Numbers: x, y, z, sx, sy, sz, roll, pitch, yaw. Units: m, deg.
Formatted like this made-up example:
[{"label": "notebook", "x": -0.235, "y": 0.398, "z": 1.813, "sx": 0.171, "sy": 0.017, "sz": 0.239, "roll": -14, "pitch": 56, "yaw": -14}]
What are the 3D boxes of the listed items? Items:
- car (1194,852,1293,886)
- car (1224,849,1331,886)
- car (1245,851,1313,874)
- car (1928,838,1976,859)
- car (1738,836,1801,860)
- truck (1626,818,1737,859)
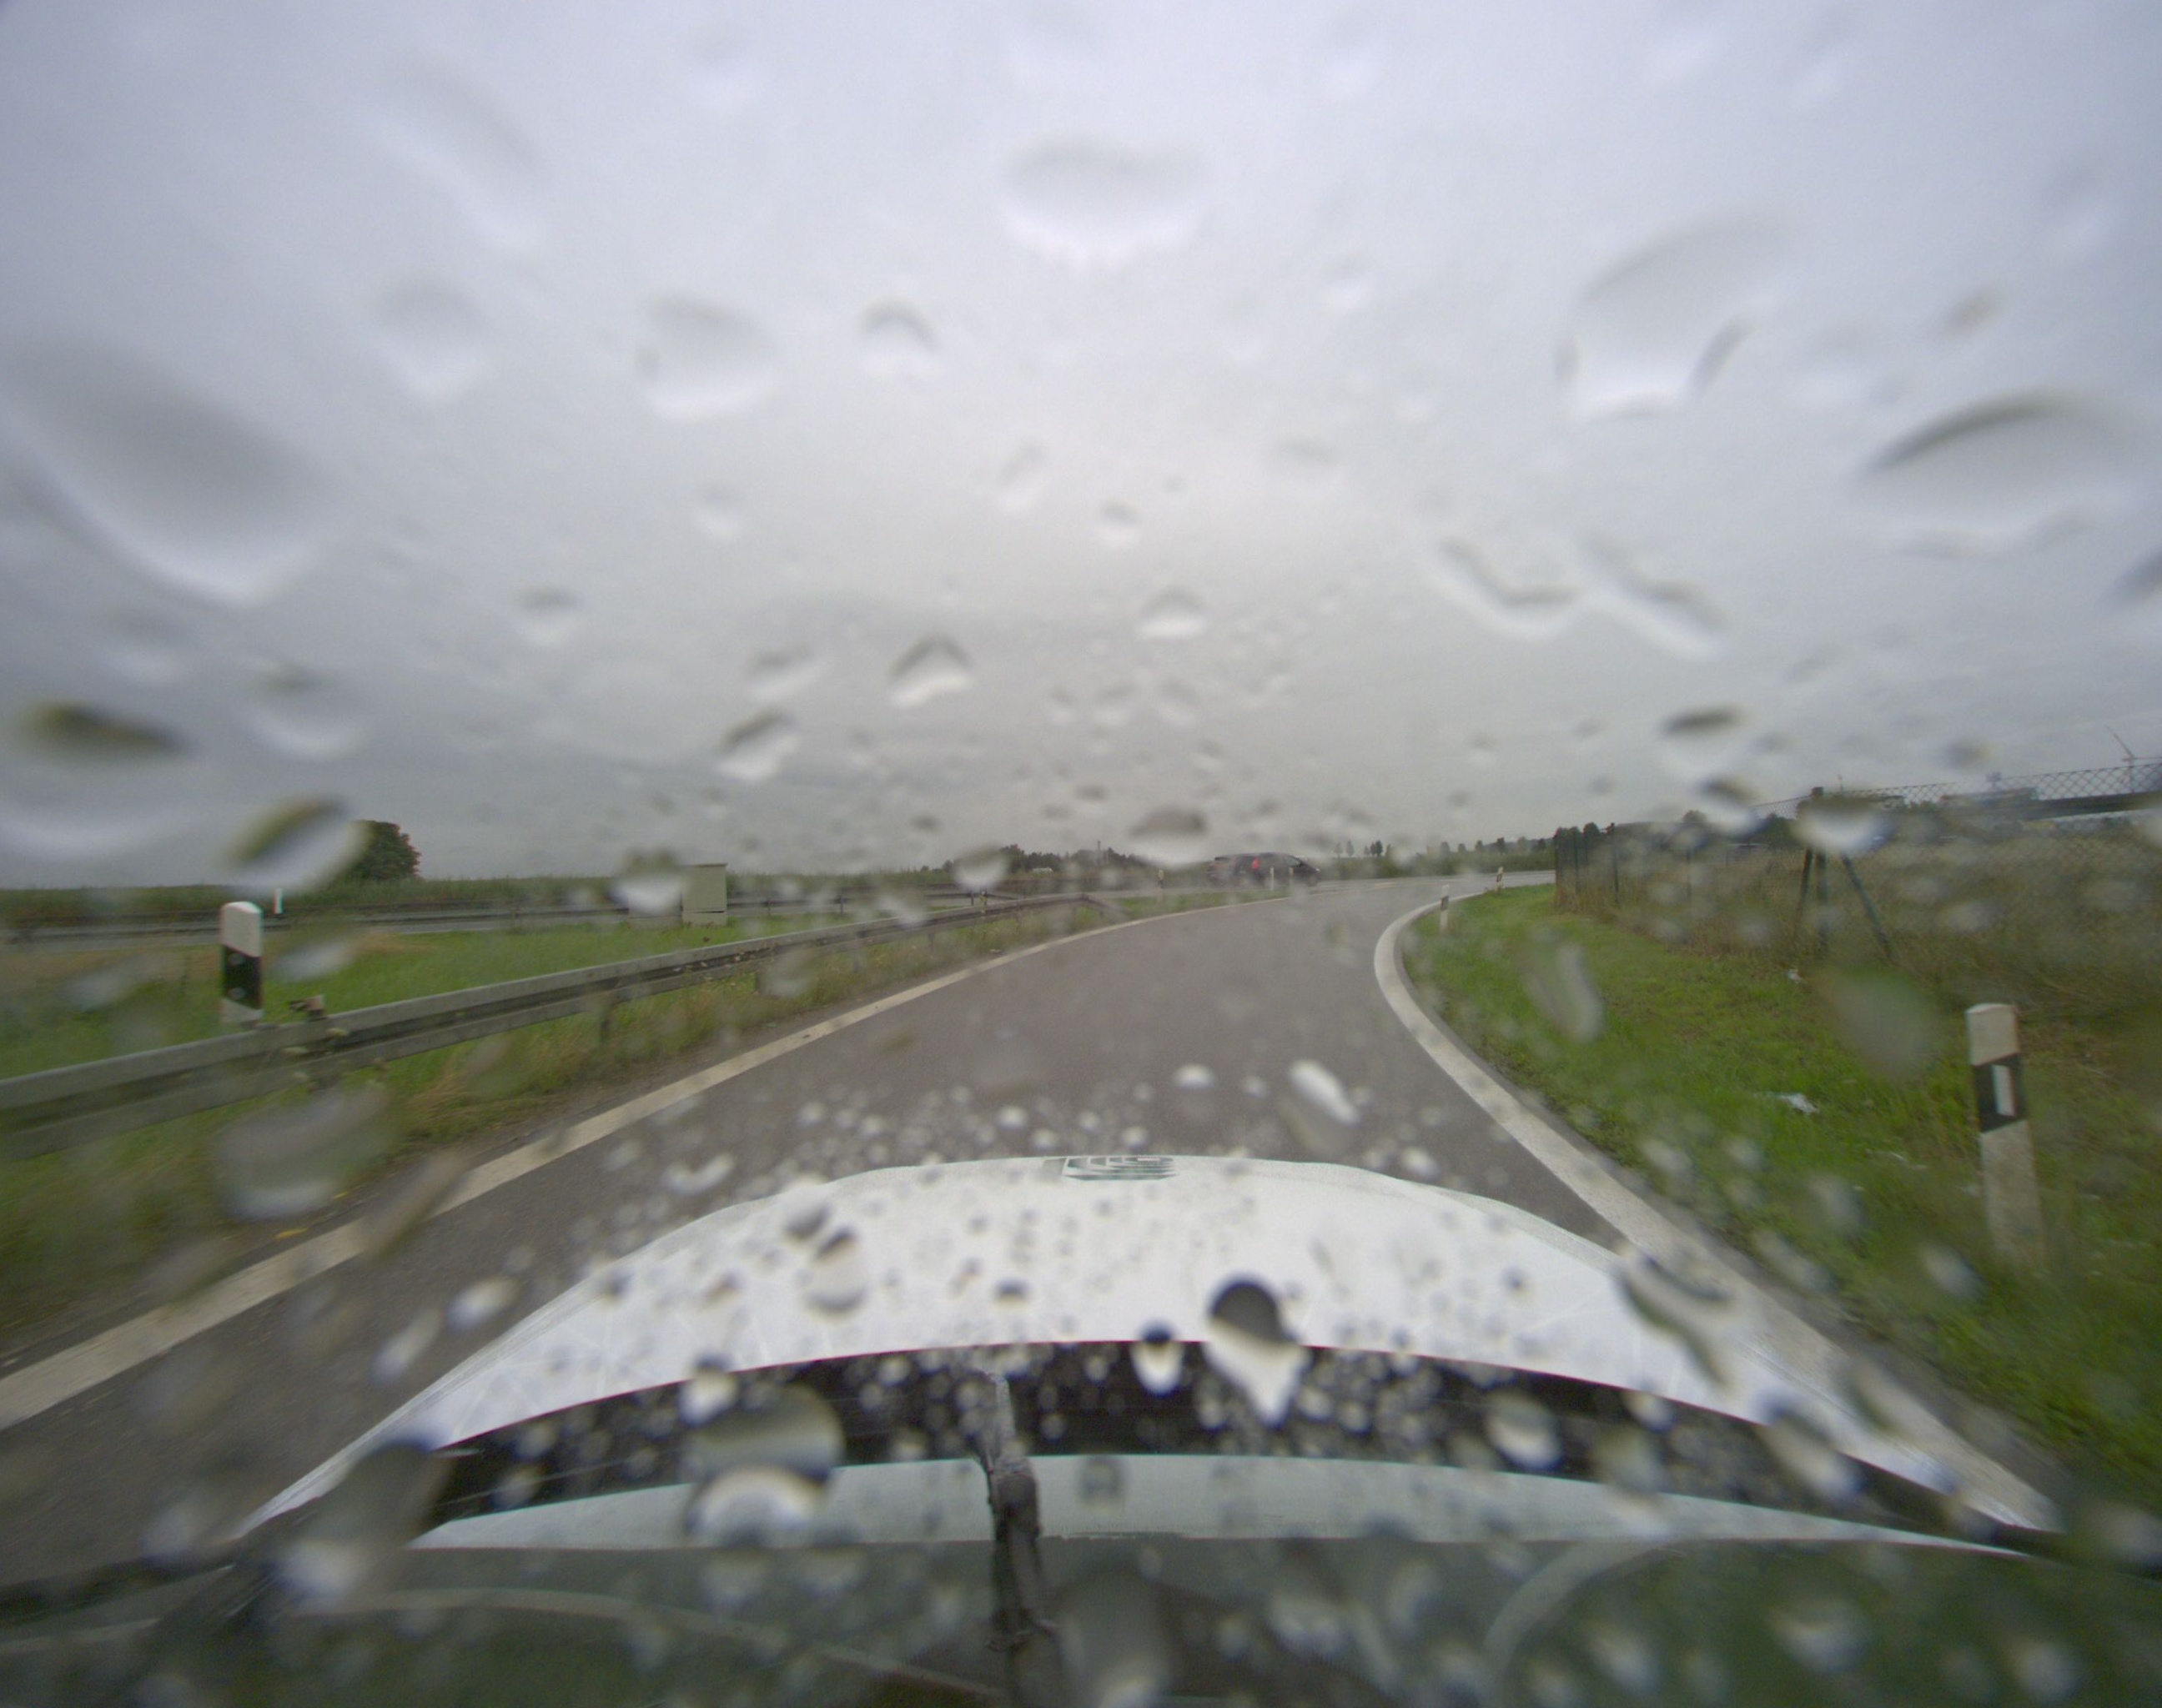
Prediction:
[{"label": "car", "x": 8.543, "y": 0.768, "z": 42.776, "sx": 4.808, "sy": 1.636, "sz": 2.042, "roll": -1, "pitch": -1, "yaw": -27}, {"label": "car", "x": 9.235, "y": 0.627, "z": 38.255, "sx": 4.605, "sy": 1.636, "sz": 2.133, "roll": 0, "pitch": -1, "yaw": -27}, {"label": "car", "x": 14.406, "y": 0.628, "z": 59.281, "sx": 4.541, "sy": 1.539, "sz": 2.093, "roll": -1, "pitch": 0, "yaw": -27}, {"label": "car", "x": 82.075, "y": -0.527, "z": 76.737, "sx": 4.009, "sy": 1.697, "sz": 1.982, "roll": -4, "pitch": -3, "yaw": -27}, {"label": "car", "x": 51.224, "y": -0.440, "z": 60.581, "sx": 4.358, "sy": 1.636, "sz": 2.042, "roll": -1, "pitch": -1, "yaw": -27}, {"label": "truck", "x": 61.085, "y": -1.651, "z": 82.641, "sx": 13.842, "sy": 3.966, "sz": 3.177, "roll": -1, "pitch": 1, "yaw": -27}]
